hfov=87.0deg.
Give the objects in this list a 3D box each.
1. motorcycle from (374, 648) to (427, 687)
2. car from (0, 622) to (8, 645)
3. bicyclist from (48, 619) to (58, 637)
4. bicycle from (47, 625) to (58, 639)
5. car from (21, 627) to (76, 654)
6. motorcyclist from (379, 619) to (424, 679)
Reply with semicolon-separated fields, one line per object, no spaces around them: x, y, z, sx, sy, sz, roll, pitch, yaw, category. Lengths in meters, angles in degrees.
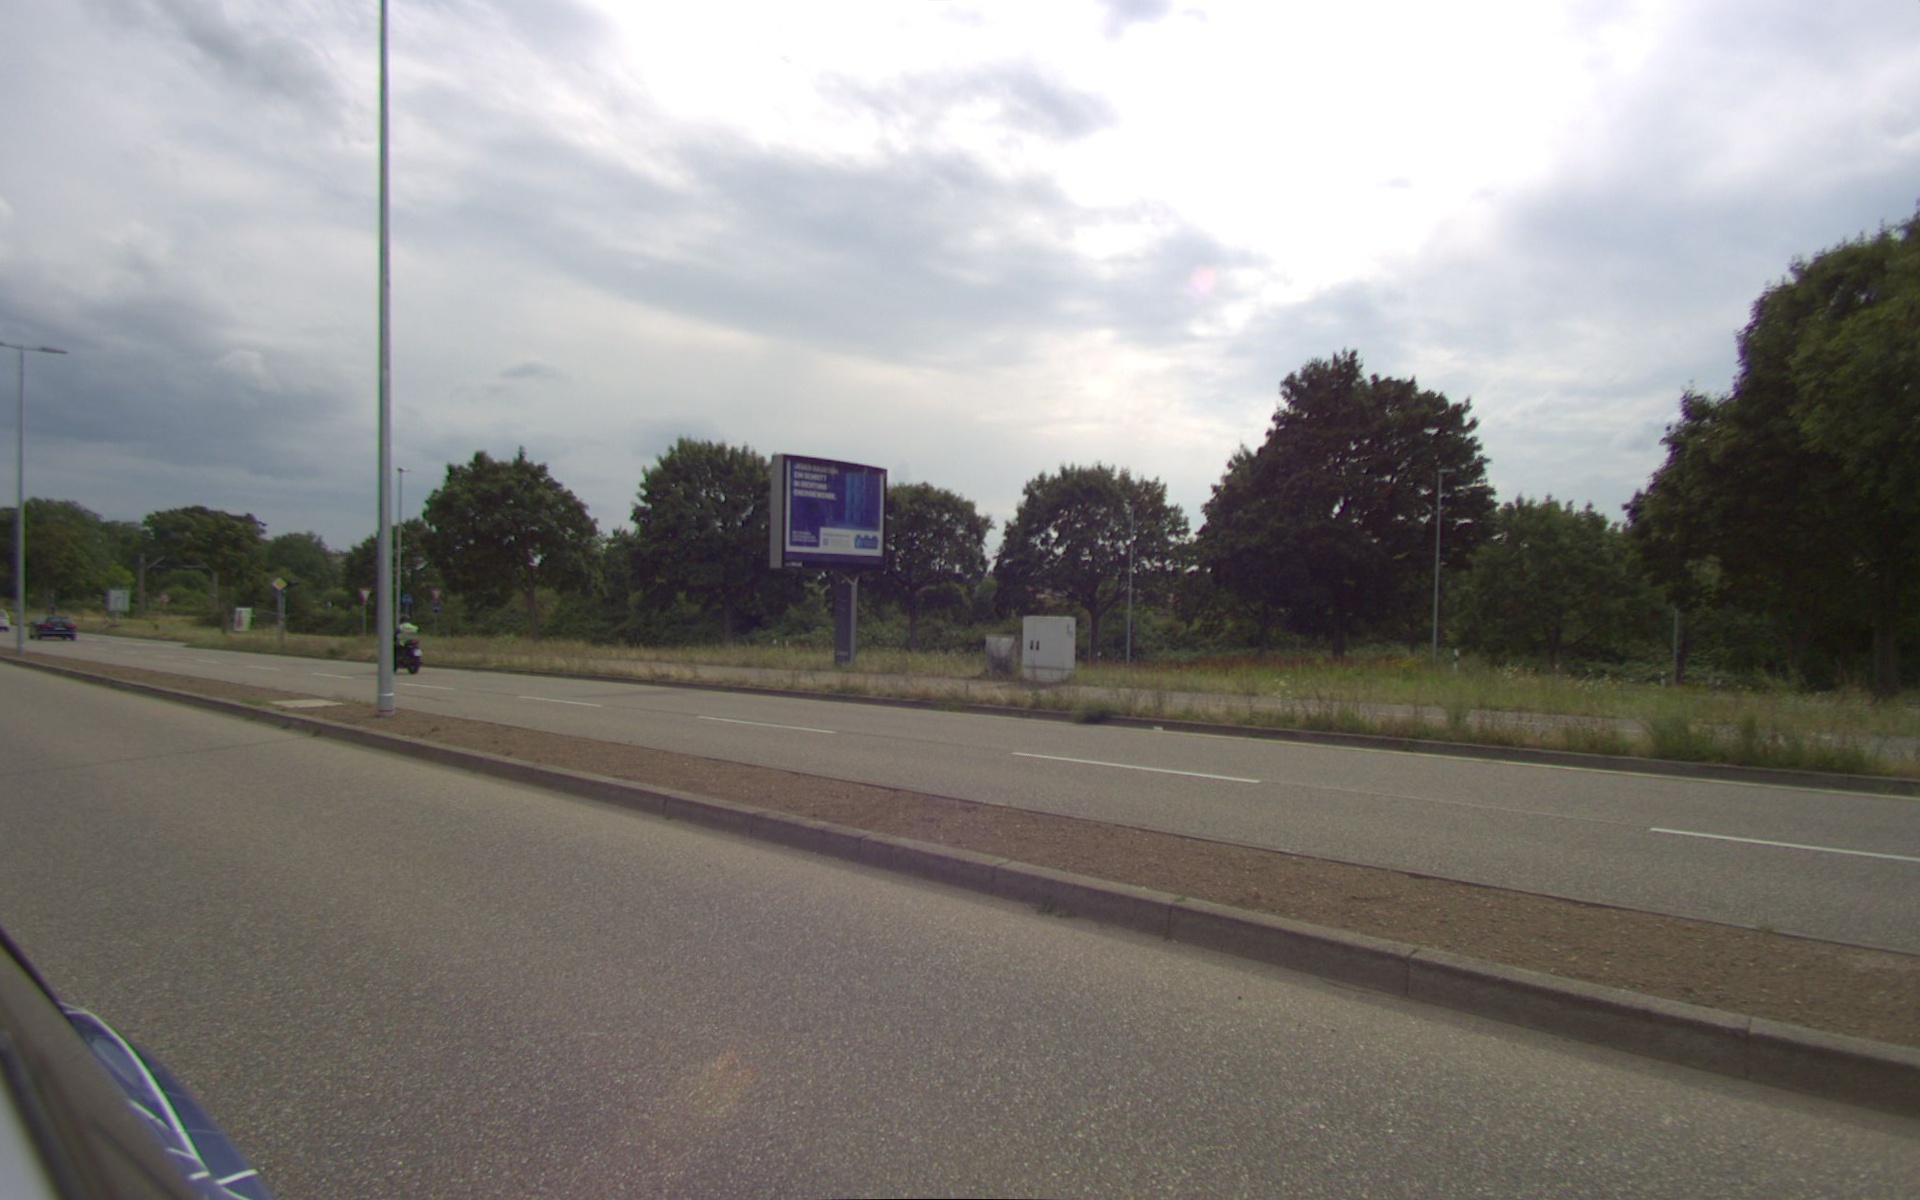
-15.178;1.807;27.430;2.218;0.974;0.517;-1;-2;41;motorcycle
-74.309;2.518;77.277;4.634;1.666;1.750;-1;-3;39;car
-97.662;3.024;108.944;0.818;1.846;0.637;-1;-3;39;bicyclist
-97.640;3.421;108.892;2.165;1.433;0.530;-1;-3;40;bicycle
-54.778;2.423;60.803;4.736;1.544;1.750;-1;-2;39;car
-15.154;1.324;27.439;0.895;1.600;0.762;-2;-3;41;motorcyclist
